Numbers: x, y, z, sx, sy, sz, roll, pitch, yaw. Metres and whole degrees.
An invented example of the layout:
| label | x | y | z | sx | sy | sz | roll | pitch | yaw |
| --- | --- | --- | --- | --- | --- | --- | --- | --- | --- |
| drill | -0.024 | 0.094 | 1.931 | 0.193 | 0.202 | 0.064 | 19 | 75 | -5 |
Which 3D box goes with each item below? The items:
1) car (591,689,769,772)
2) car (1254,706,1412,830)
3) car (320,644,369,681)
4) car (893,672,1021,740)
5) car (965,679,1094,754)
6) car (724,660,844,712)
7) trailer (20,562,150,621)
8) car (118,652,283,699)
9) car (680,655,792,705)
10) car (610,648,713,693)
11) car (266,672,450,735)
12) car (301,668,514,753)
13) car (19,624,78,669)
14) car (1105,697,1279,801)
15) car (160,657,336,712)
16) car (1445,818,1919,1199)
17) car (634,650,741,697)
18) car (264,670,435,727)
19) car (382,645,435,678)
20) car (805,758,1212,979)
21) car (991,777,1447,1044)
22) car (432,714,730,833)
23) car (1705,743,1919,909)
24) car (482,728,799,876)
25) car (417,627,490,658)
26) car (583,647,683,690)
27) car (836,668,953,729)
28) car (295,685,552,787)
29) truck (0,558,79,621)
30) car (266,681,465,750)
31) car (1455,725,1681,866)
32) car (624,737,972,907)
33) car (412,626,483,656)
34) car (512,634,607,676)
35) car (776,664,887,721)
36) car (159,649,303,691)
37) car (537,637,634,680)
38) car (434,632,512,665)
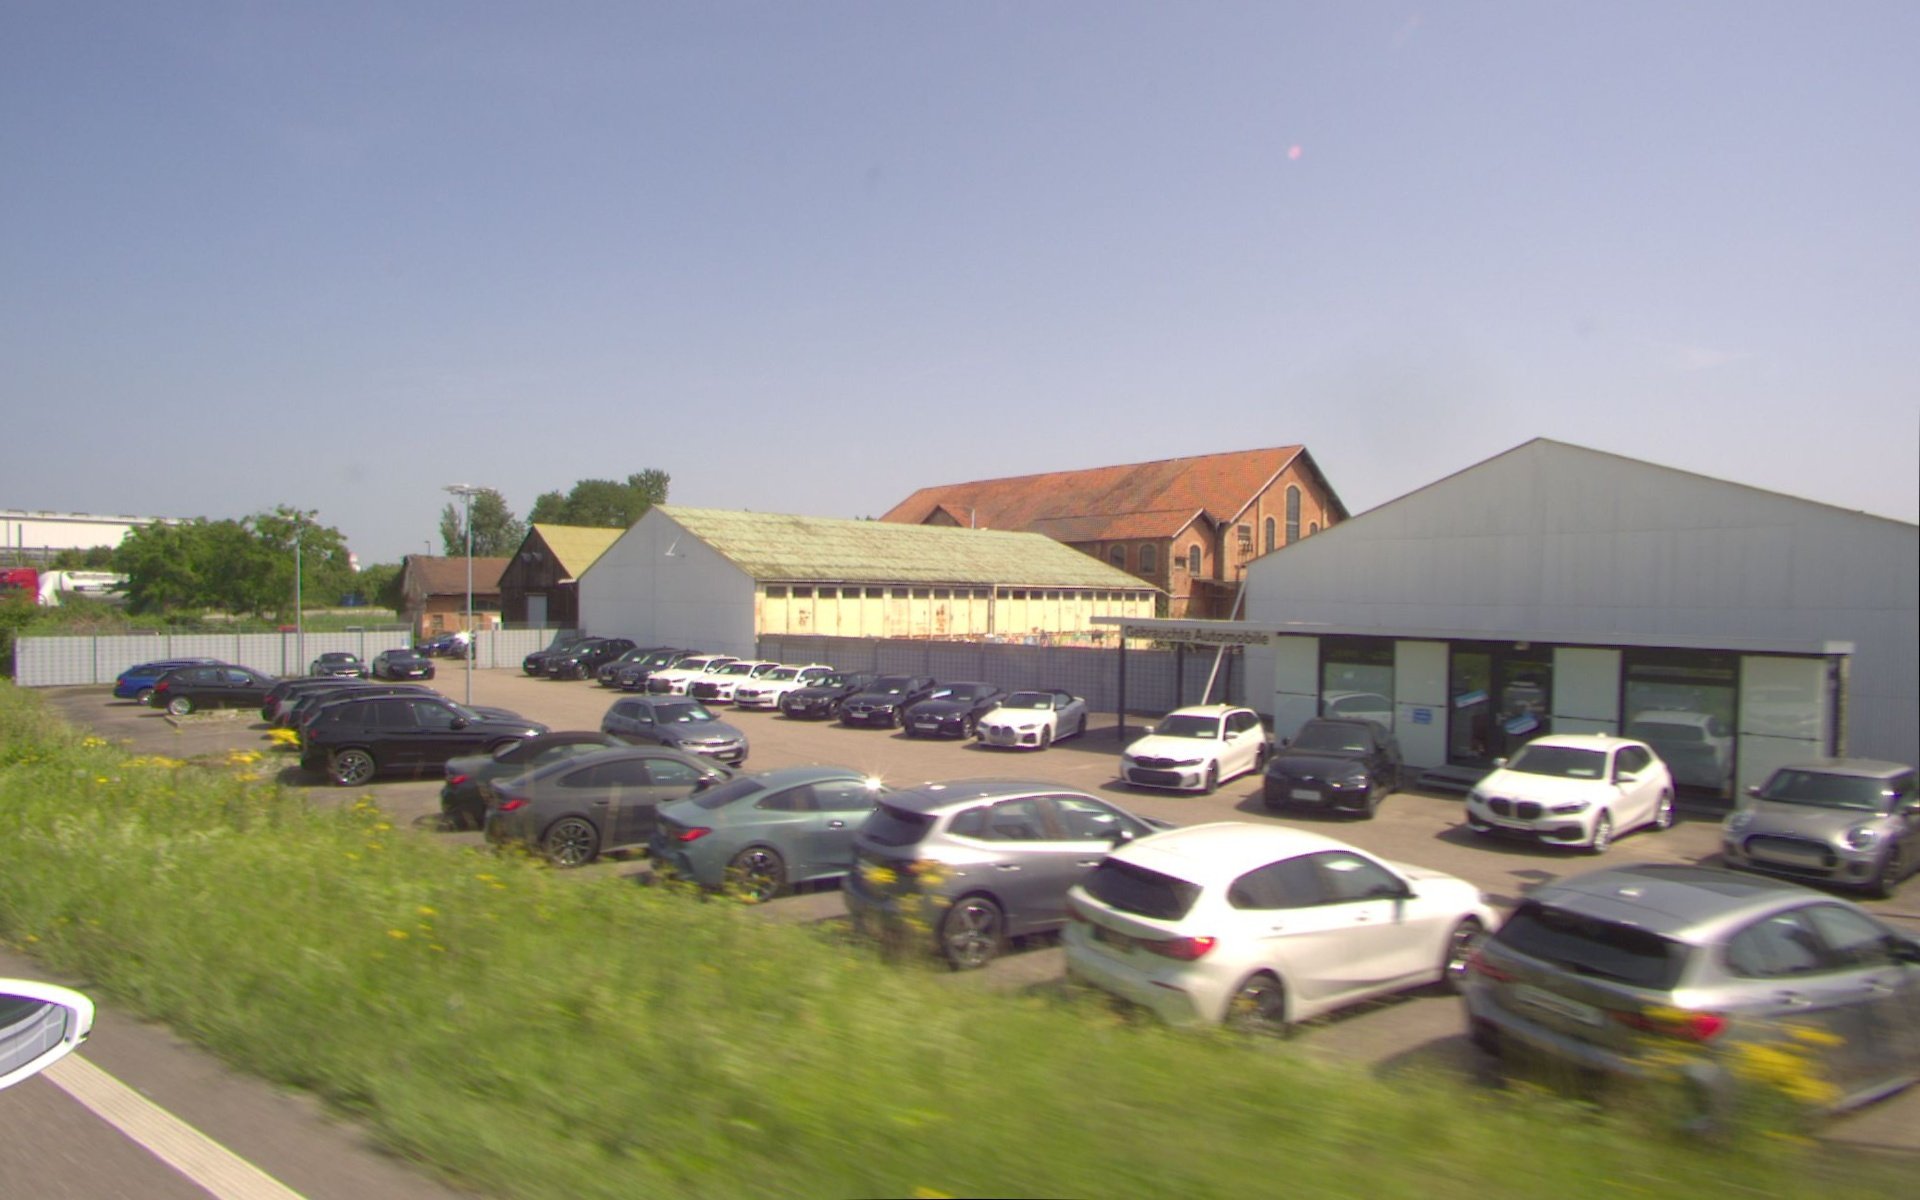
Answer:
| label | x | y | z | sx | sy | sz | roll | pitch | yaw |
| --- | --- | --- | --- | --- | --- | --- | --- | --- | --- |
| car | -6.616 | 2.948 | 23.378 | 2.122 | 1.476 | 4.488 | 2 | -2 | -44 |
| car | 6.968 | 2.940 | 18.422 | 1.904 | 1.543 | 4.417 | 0 | -1 | 32 |
| car | -28.346 | 2.822 | 46.088 | 1.831 | 1.554 | 4.617 | 1 | -2 | -32 |
| car | 0.022 | 3.018 | 29.225 | 1.901 | 1.543 | 4.603 | -1 | -1 | 26 |
| car | 1.998 | 3.062 | 27.148 | 1.901 | 1.543 | 4.603 | -1 | -1 | 26 |
| car | -6.236 | 3.020 | 36.062 | 1.881 | 1.543 | 4.645 | -1 | -1 | 26 |
| trailer | -65.552 | -0.514 | 75.354 | 2.833 | 4.082 | 8.697 | 0 | -2 | -6 |
| car | -27.988 | 2.745 | 37.095 | 4.573 | 1.518 | 1.848 | 1 | 1 | -27 |
| car | -8.395 | 2.978 | 37.976 | 1.878 | 1.543 | 4.603 | 1 | 0 | 21 |
| car | -12.437 | 2.916 | 41.994 | 1.878 | 1.597 | 4.328 | 1 | 0 | 21 |
| car | -16.564 | 2.825 | 27.783 | 4.081 | 1.512 | 1.826 | 1 | -1 | -21 |
| car | -12.929 | 2.547 | 23.739 | 4.165 | 1.723 | 1.913 | 1 | 1 | -21 |
| car | -43.508 | 2.174 | 47.766 | 1.981 | 2.039 | 3.961 | 1 | -2 | -44 |
| car | 4.925 | 2.977 | 20.802 | 1.908 | 1.543 | 4.410 | -1 | -1 | 37 |
| car | -23.425 | 2.749 | 33.188 | 4.577 | 1.625 | 1.847 | 1 | -1 | -30 |
| car | 5.628 | 2.632 | 7.170 | 4.106 | 1.542 | 1.684 | 1 | -2 | -25 |
| car | -10.748 | 2.873 | 39.838 | 1.878 | 1.543 | 4.328 | 1 | 0 | 21 |
| car | -17.935 | 2.866 | 29.616 | 3.965 | 1.461 | 1.770 | 1 | 1 | -17 |
| car | -26.274 | 2.881 | 47.648 | 1.973 | 1.416 | 3.977 | 1 | -2 | -32 |
| car | 0.575 | 2.723 | 10.910 | 4.113 | 1.542 | 1.847 | 1 | -2 | -30 |
| car | 2.493 | 2.687 | 9.432 | 4.111 | 1.542 | 1.743 | 1 | -2 | -29 |
| car | -6.435 | 2.865 | 17.187 | 4.573 | 1.542 | 1.849 | 1 | -2 | -27 |
| car | 11.779 | 2.857 | 13.298 | 3.750 | 1.542 | 1.742 | 1 | -2 | -31 |
| car | -4.599 | 2.791 | 14.513 | 4.111 | 1.542 | 1.848 | 1 | -2 | -29 |
| car | -30.400 | 2.526 | 60.129 | 3.707 | 1.772 | 1.661 | 2 | -2 | -38 |
| car | -14.303 | 2.955 | 44.058 | 1.878 | 1.597 | 4.328 | 1 | 0 | 21 |
| car | -1.980 | 3.026 | 31.486 | 1.768 | 1.543 | 4.312 | -1 | -1 | 26 |
| car | -11.078 | 2.766 | 21.060 | 4.570 | 1.723 | 1.849 | 1 | 1 | -25 |
| truck | -64.886 | -0.638 | 69.996 | 2.843 | 4.082 | 6.703 | 1 | -2 | -22 |
| car | -14.967 | 2.881 | 25.467 | 4.081 | 1.461 | 1.770 | 1 | 1 | -21 |
| car | 9.558 | 2.921 | 15.654 | 3.923 | 1.543 | 1.738 | 1 | -1 | -38 |
| car | -2.078 | 2.737 | 13.043 | 4.111 | 1.542 | 1.848 | 1 | -2 | -29 |
| car | -32.049 | 2.545 | 62.594 | 3.707 | 1.772 | 1.661 | 2 | -2 | -38 |
| car | -19.878 | 2.696 | 49.847 | 1.964 | 1.828 | 4.328 | 1 | 0 | 21 |
| car | -4.187 | 3.011 | 33.267 | 1.730 | 1.543 | 3.996 | -1 | -1 | 26 |
| car | -29.231 | 2.800 | 40.306 | 4.294 | 1.522 | 1.840 | 1 | 0 | -15 |
| car | -17.709 | 2.725 | 47.541 | 1.878 | 1.828 | 4.328 | 1 | 0 | 21 |
| car | -27.699 | 2.741 | 57.049 | 3.710 | 1.772 | 1.659 | 2 | -2 | -41 |
